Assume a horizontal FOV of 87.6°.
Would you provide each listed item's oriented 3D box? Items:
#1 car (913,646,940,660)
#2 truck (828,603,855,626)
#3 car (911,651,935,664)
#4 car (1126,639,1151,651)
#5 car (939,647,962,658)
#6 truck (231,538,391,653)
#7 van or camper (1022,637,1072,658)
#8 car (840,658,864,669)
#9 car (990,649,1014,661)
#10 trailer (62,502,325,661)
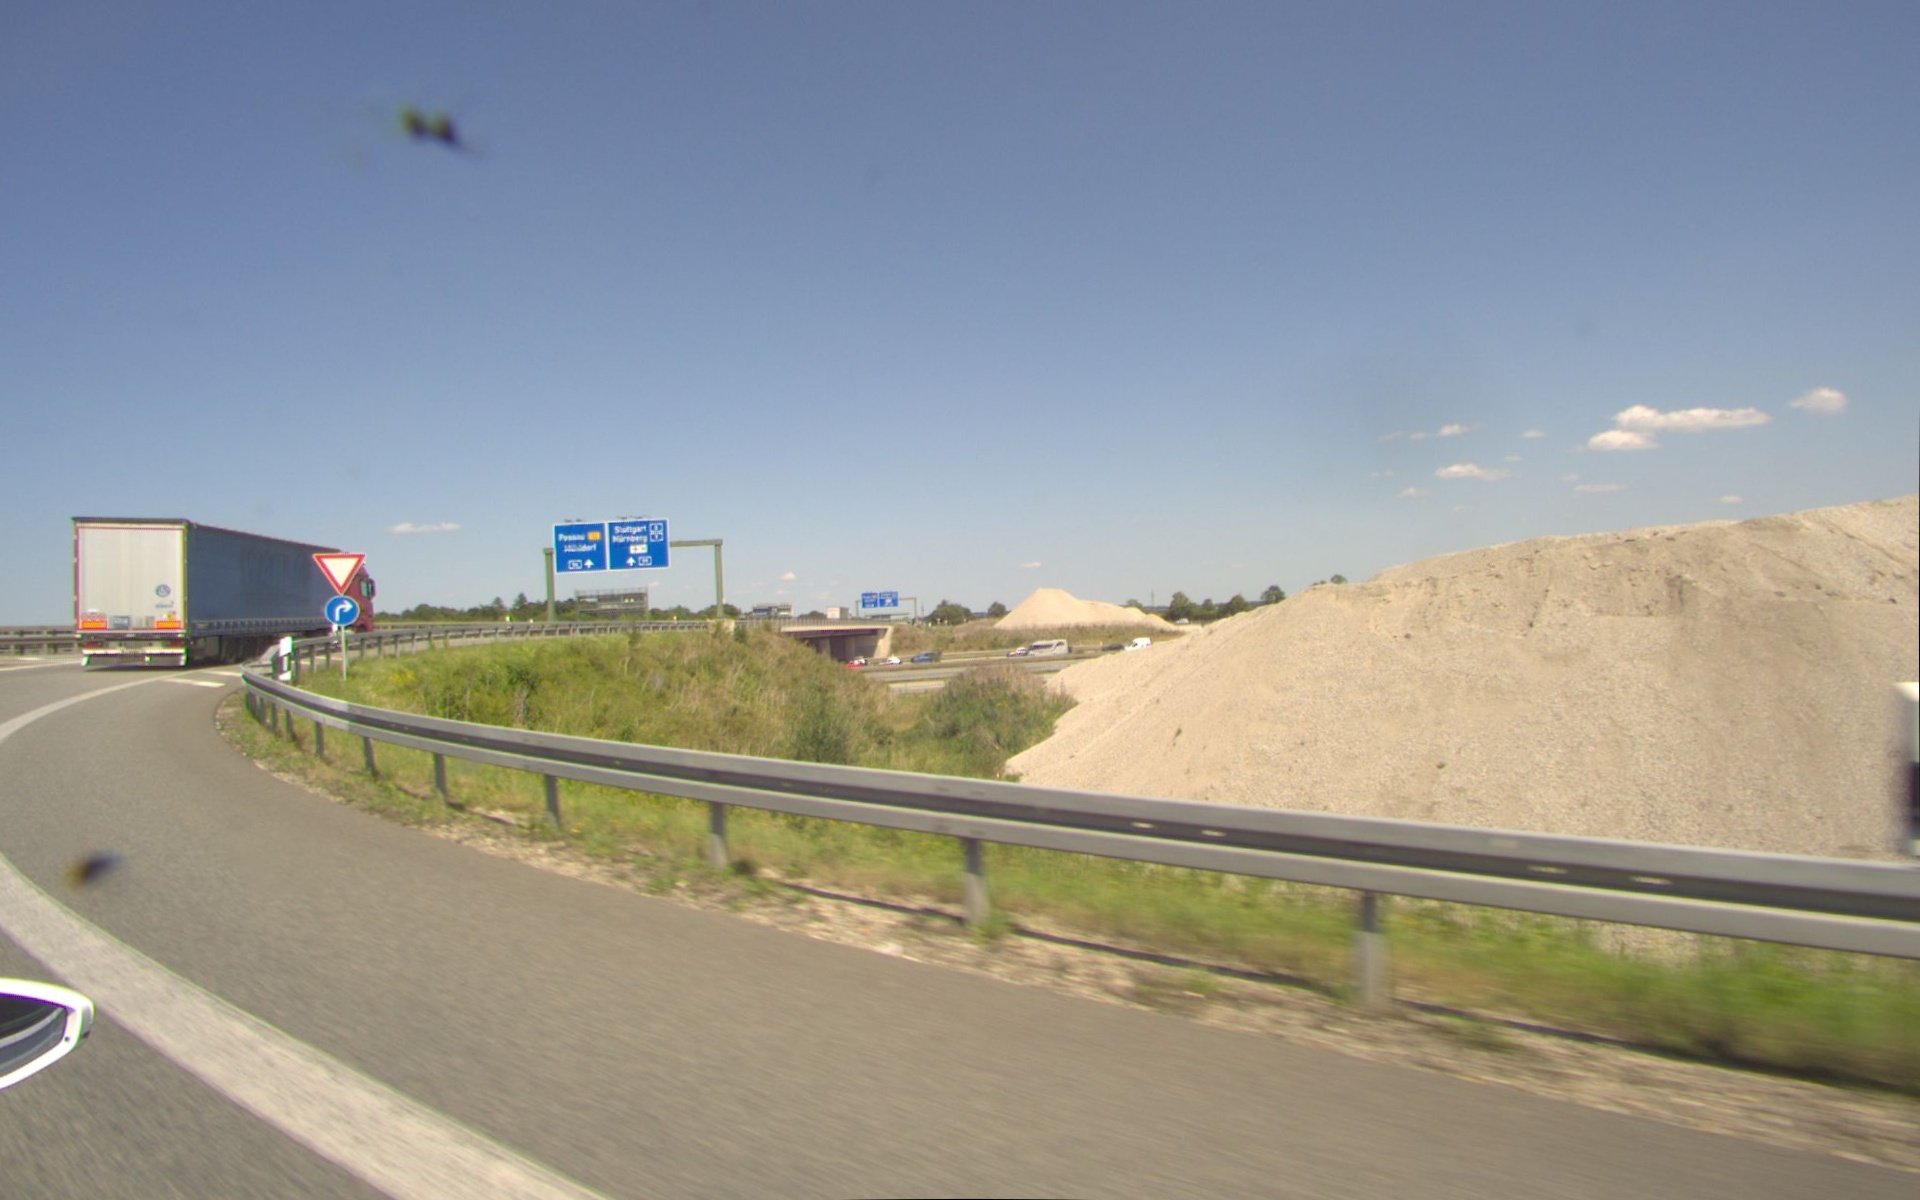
[{"bbox_3d":[-5.257,8.396,158.092,3.925,2.037,1.879,0,-5,-12],"label":"car"},{"bbox_3d":[-23.546,2.993,199.636,3.481,4.197,11.263,1,-2,2],"label":"truck"},{"bbox_3d":[-6.380,9.932,172.442,3.925,2.037,2.002,0,-5,-12],"label":"car"},{"bbox_3d":[30.579,7.655,171.372,3.923,2.040,1.804,0,-1,-5],"label":"car"},{"bbox_3d":[-1.780,9.437,180.256,3.923,2.039,2.000,0,-1,-7],"label":"car"},{"bbox_3d":[-25.822,-0.035,40.306,2.867,4.197,6.925,0,-2,-10],"label":"truck"},{"bbox_3d":[15.044,8.216,172.685,8.003,3.031,2.987,-2,-4,-7],"label":"van or camper"},{"bbox_3d":[-18.029,10.560,167.124,3.925,1.636,2.002,0,-5,-12],"label":"car"},{"bbox_3d":[7.640,10.024,181.300,3.924,2.038,1.887,-2,-3,-8],"label":"car"},{"bbox_3d":[-23.826,-0.252,32.128,2.870,4.197,11.243,0,-2,-17],"label":"trailer"}]
